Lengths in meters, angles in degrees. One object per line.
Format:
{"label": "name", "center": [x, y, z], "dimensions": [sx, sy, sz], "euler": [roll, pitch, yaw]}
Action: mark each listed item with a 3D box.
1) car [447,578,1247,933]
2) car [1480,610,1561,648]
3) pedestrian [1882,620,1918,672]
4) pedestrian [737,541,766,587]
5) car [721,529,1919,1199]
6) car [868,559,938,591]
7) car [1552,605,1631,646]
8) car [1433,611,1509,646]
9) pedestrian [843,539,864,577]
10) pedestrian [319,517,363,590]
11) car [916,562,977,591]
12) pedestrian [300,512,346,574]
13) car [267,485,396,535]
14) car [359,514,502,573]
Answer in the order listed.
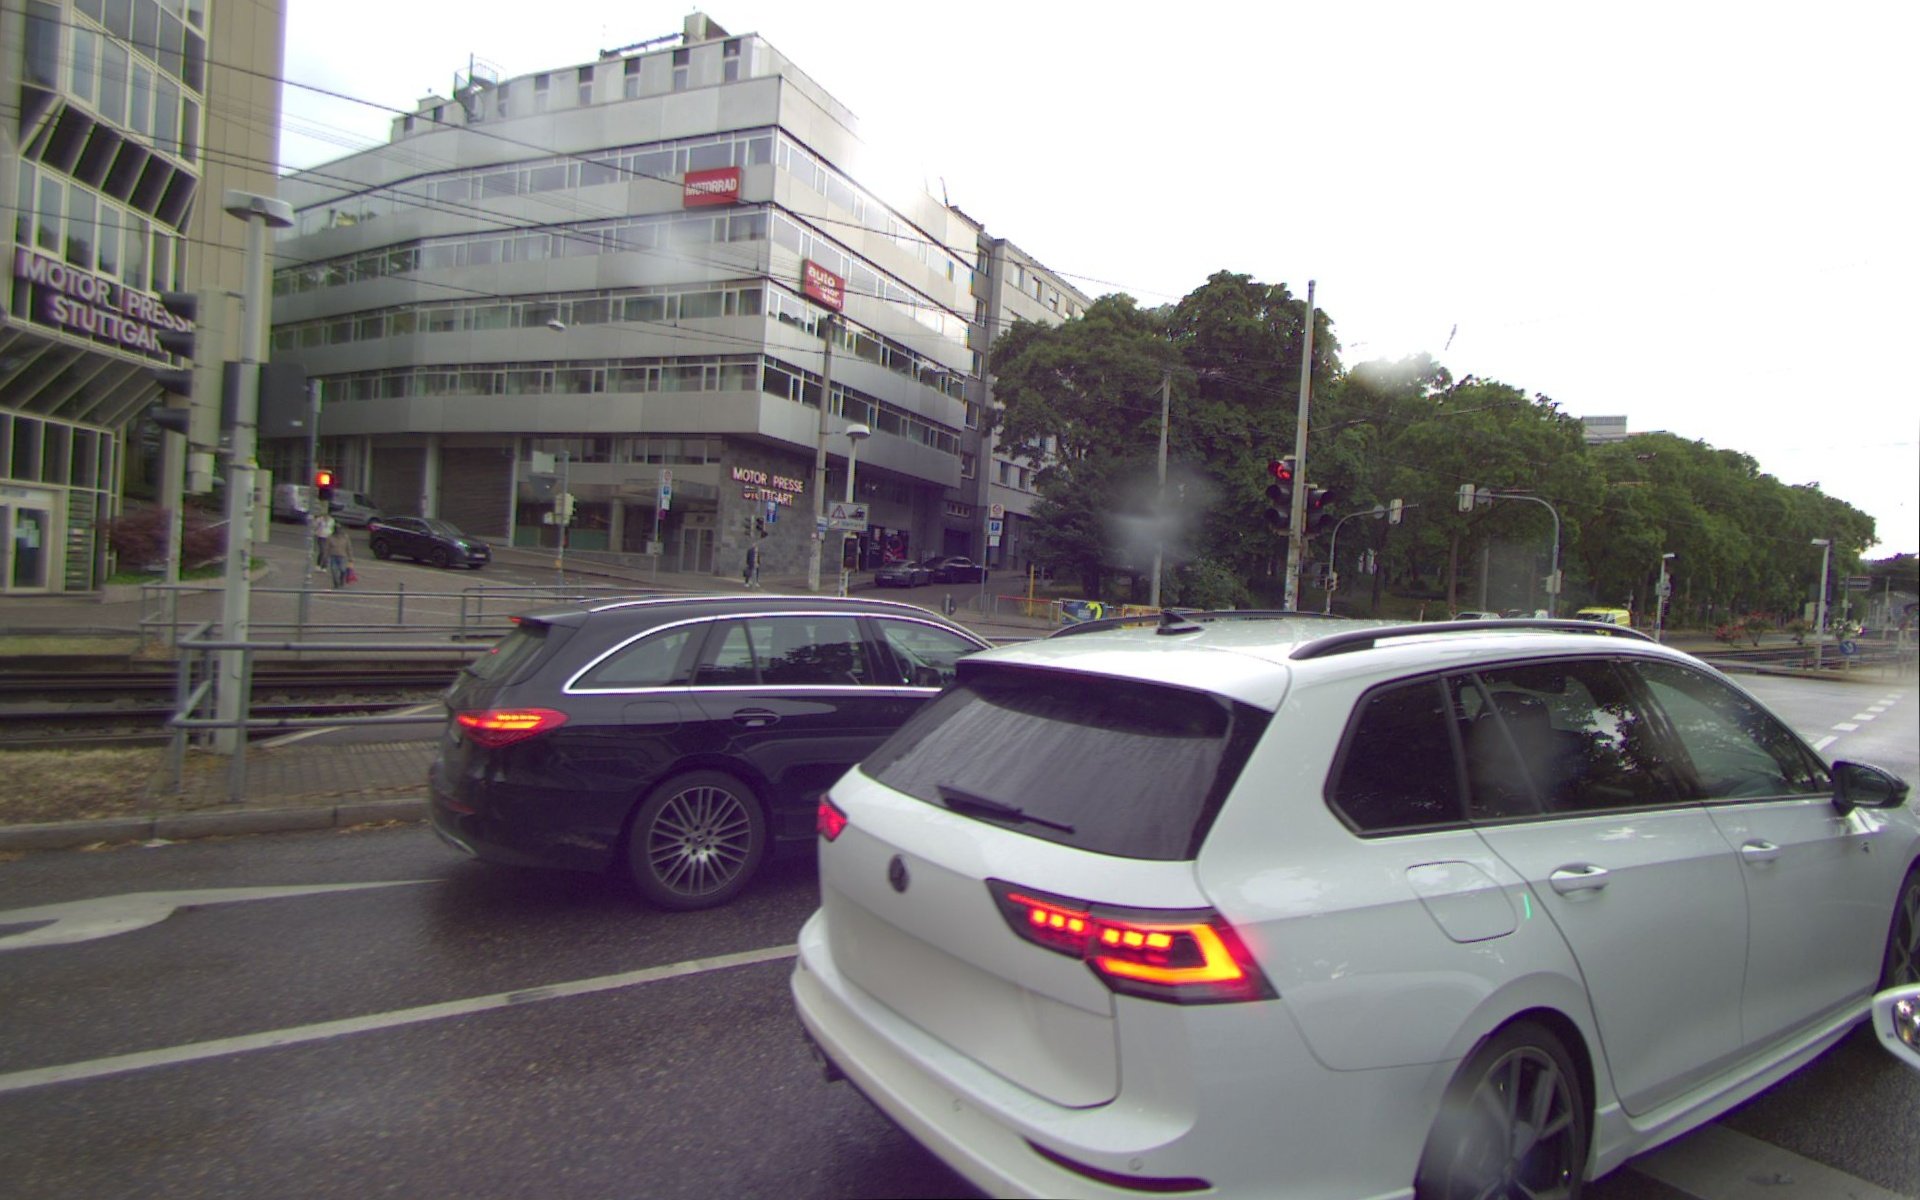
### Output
{"label": "car", "center": [-0.542, 0.706, 6.040], "dimensions": [4.423, 1.461, 1.787], "euler": [2, 0, -30]}
{"label": "car", "center": [25.683, 1.337, 46.028], "dimensions": [3.648, 1.566, 1.905], "euler": [3, 1, -37]}
{"label": "pedestrian", "center": [34.624, 1.673, 36.992], "dimensions": [0.860, 1.826, 0.863], "euler": [5, 3, 44]}
{"label": "pedestrian", "center": [-8.795, -1.508, 42.416], "dimensions": [0.833, 1.885, 0.719], "euler": [5, 2, 25]}
{"label": "car", "center": [1.637, 0.688, 3.409], "dimensions": [4.423, 1.461, 1.787], "euler": [2, 0, -30]}
{"label": "car", "center": [-2.792, -1.230, 50.169], "dimensions": [1.842, 1.450, 4.091], "euler": [4, 2, 22]}
{"label": "car", "center": [32.178, 1.324, 51.172], "dimensions": [4.526, 1.875, 1.905], "euler": [3, 1, -38]}
{"label": "car", "center": [25.319, 1.411, 49.742], "dimensions": [3.648, 1.566, 1.905], "euler": [3, 1, -37]}
{"label": "pedestrian", "center": [-5.517, -2.185, 52.204], "dimensions": [0.707, 1.886, 0.759], "euler": [5, 4, 29]}
{"label": "pedestrian", "center": [-16.045, -1.201, 26.045], "dimensions": [0.821, 1.810, 0.755], "euler": [3, 2, -27]}
{"label": "car", "center": [-0.702, -1.270, 55.143], "dimensions": [1.842, 1.450, 3.998], "euler": [4, 2, 22]}
{"label": "pedestrian", "center": [-17.756, -1.584, 28.003], "dimensions": [0.746, 1.661, 0.719], "euler": [5, 2, 25]}
{"label": "car", "center": [-32.749, -4.619, 52.557], "dimensions": [1.964, 2.040, 5.403], "euler": [2, 0, 30]}
{"label": "car", "center": [-19.407, -2.072, 36.821], "dimensions": [4.794, 1.601, 1.999], "euler": [7, 3, 23]}
